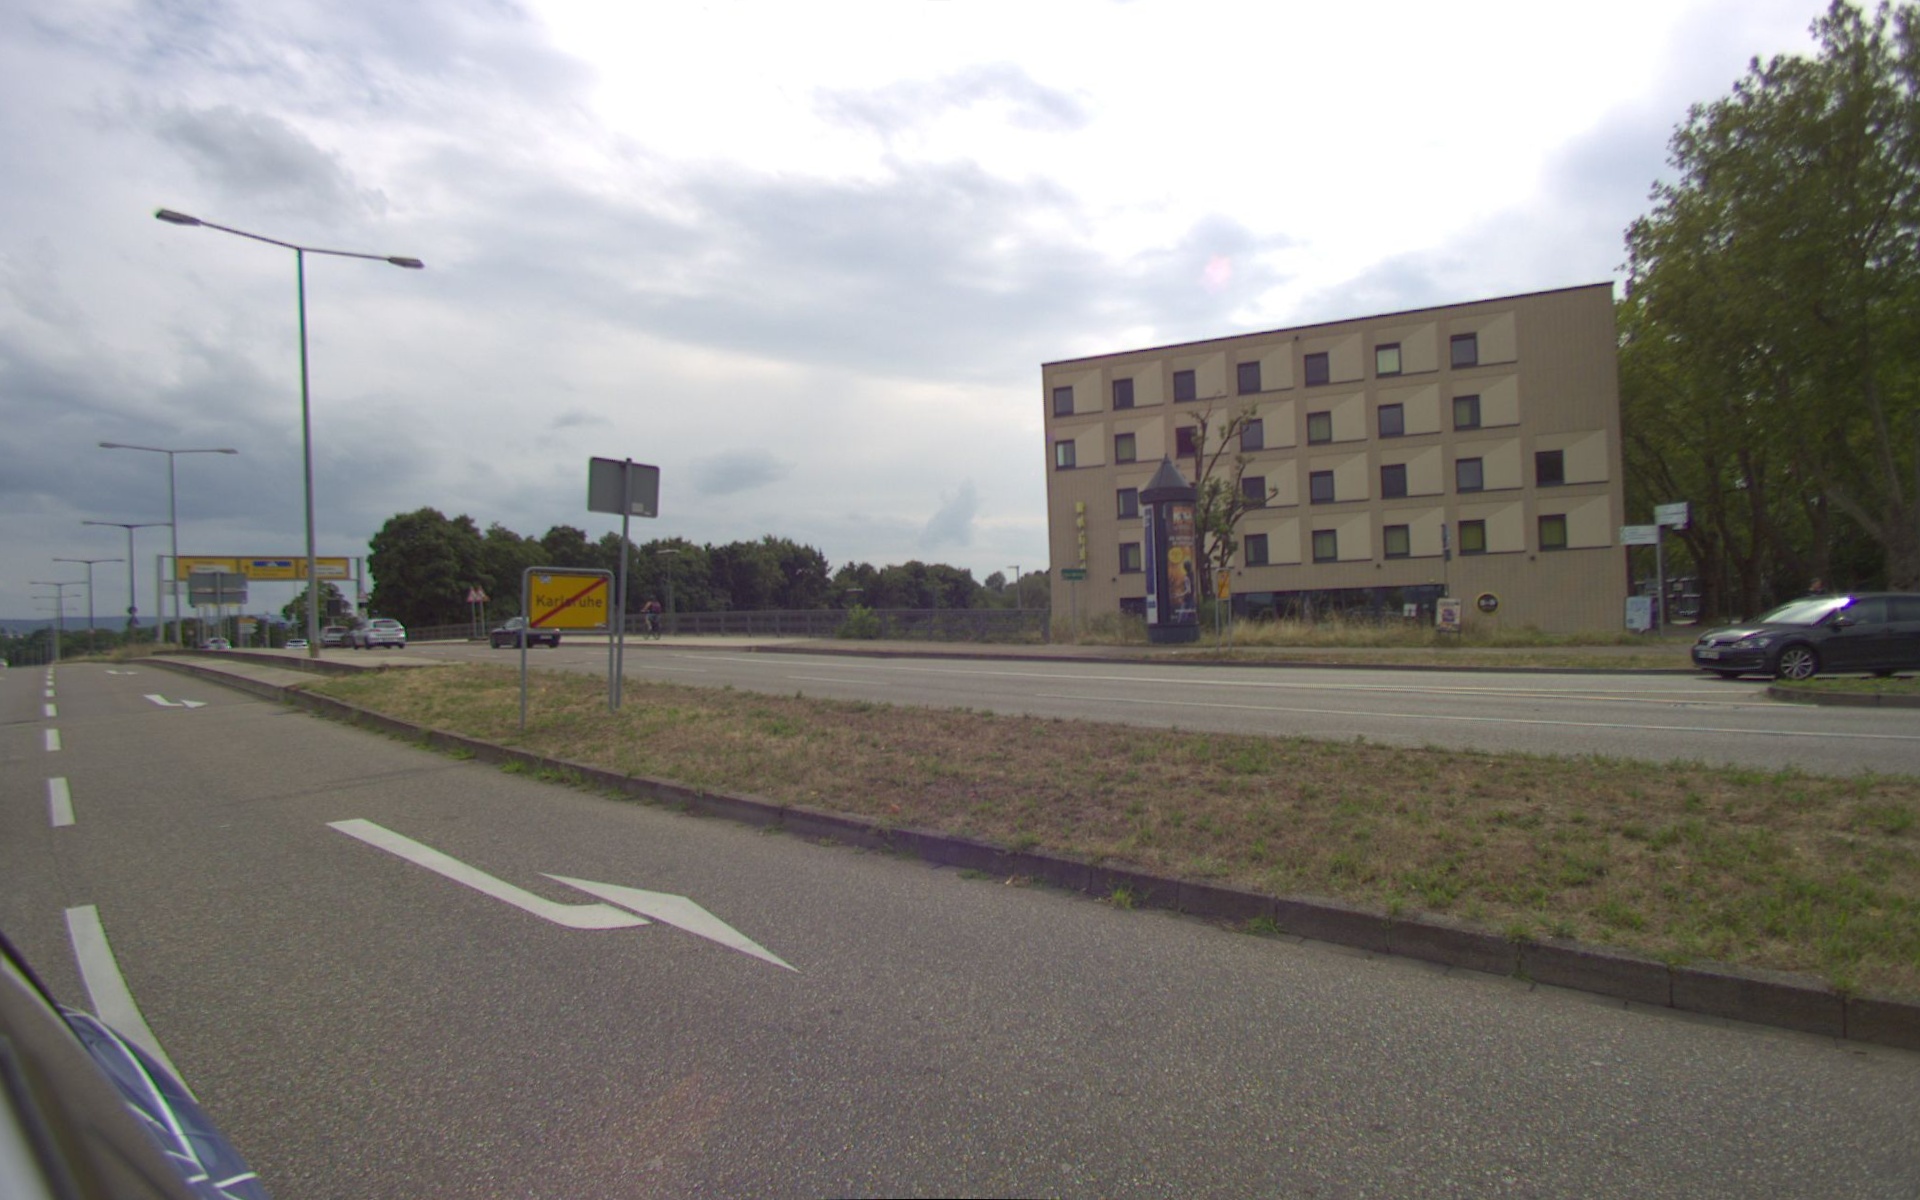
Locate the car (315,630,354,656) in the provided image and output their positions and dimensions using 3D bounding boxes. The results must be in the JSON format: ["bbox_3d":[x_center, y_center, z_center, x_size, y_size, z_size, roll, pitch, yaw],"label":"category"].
[{"bbox_3d":[-42.971,2.924,69.489,1.720,1.671,4.086,1,-2,-39],"label":"car"}]

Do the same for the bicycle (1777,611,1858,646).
[{"bbox_3d":[23.774,0.778,28.068,2.083,0.916,0.744,-1,-1,-19],"label":"bicycle"}]

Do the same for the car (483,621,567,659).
[{"bbox_3d":[-18.350,1.655,42.625,1.800,1.457,4.356,-1,-1,-44],"label":"car"}]

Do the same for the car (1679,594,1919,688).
[{"bbox_3d":[14.578,0.638,16.775,3.946,1.429,1.797,-1,-1,2],"label":"car"}]

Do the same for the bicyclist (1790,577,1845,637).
[{"bbox_3d":[23.795,0.206,28.093,0.905,1.627,0.744,-1,-1,-20],"label":"bicyclist"}]

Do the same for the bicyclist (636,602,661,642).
[{"bbox_3d":[-13.446,0.945,43.643,0.676,1.684,0.848,-1,-1,-44],"label":"bicyclist"}]

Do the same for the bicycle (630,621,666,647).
[{"bbox_3d":[-13.473,1.459,43.664,0.676,1.061,1.996,-1,-1,-43],"label":"bicycle"}]

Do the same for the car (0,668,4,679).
[{"bbox_3d":[-129.684,9.957,135.876,1.834,1.353,4.004,0,-1,-43],"label":"car"}]

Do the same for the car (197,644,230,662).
[{"bbox_3d":[-64.595,4.574,87.559,1.788,1.426,4.032,0,-1,-45],"label":"car"}]

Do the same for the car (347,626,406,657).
[{"bbox_3d":[-28.058,1.984,48.621,1.597,1.421,3.864,1,-2,-43],"label":"car"}]

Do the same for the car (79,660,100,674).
[{"bbox_3d":[-110.014,8.478,127.887,1.864,1.652,4.590,-1,-2,-42],"label":"car"}]

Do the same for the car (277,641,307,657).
[{"bbox_3d":[-61.540,4.491,93.163,1.894,1.426,4.890,1,-3,-38],"label":"car"}]

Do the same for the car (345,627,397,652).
[{"bbox_3d":[-33.768,2.237,57.985,1.721,1.421,3.879,1,-2,-44],"label":"car"}]
